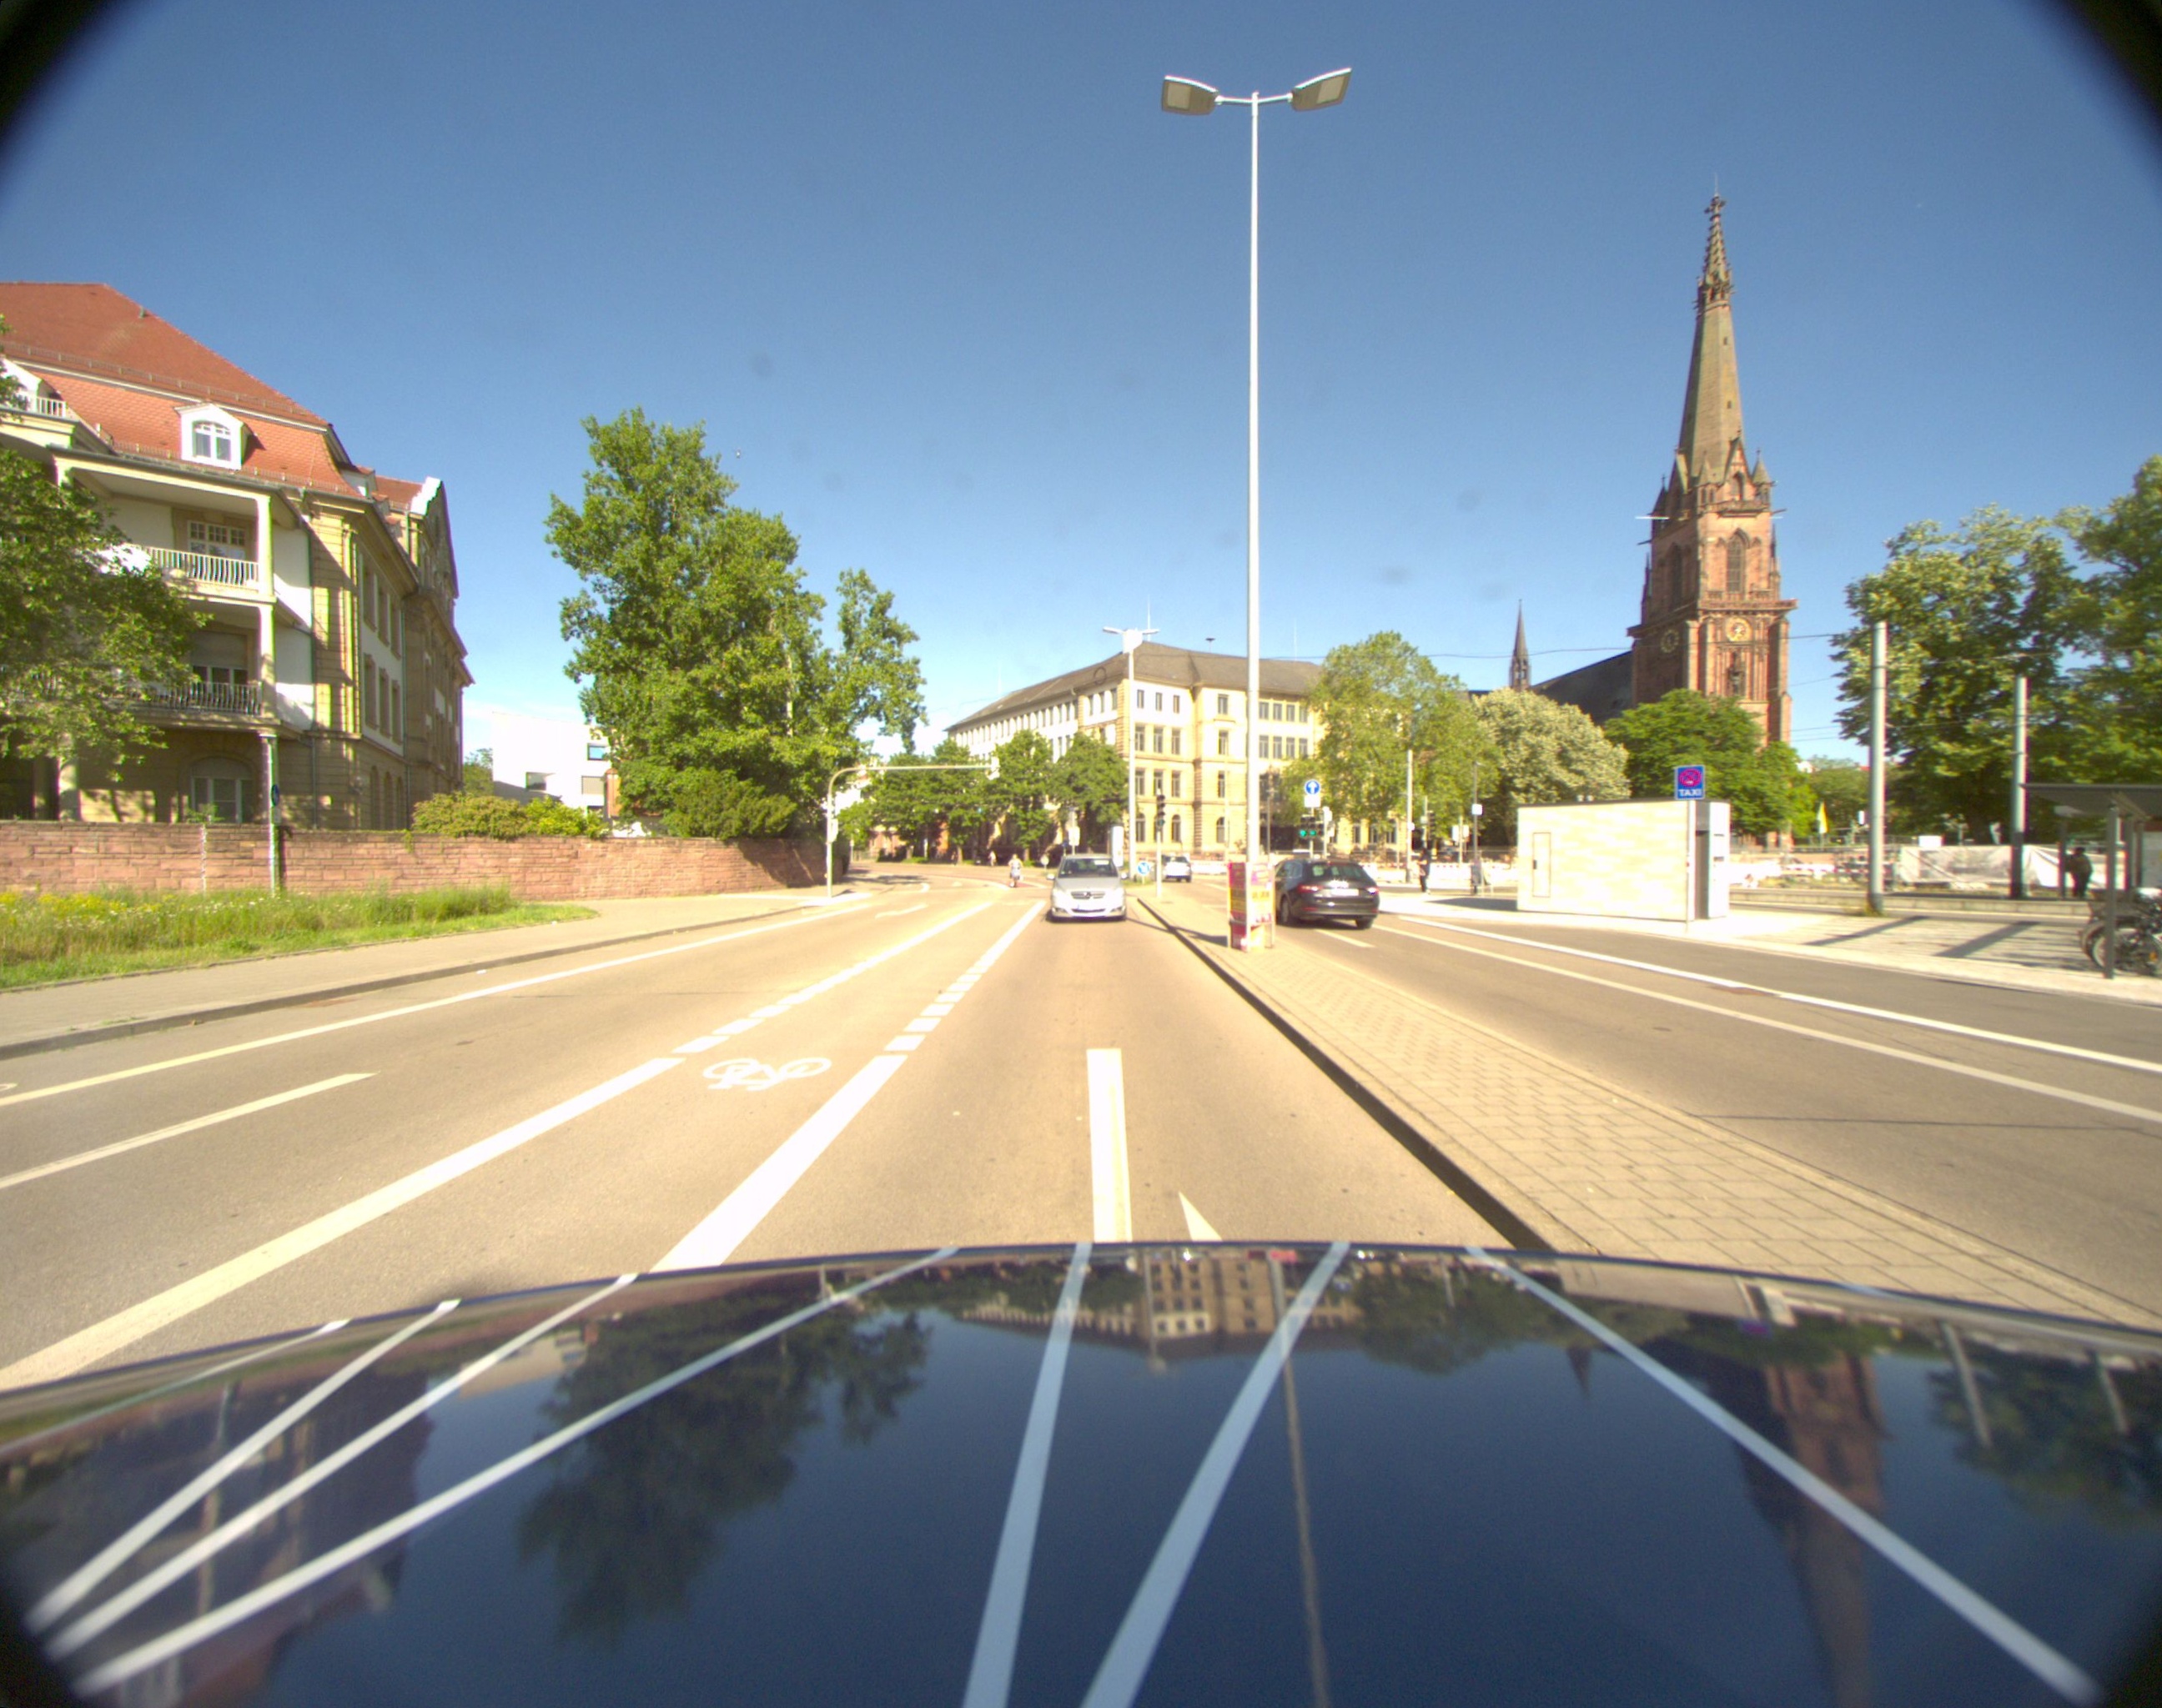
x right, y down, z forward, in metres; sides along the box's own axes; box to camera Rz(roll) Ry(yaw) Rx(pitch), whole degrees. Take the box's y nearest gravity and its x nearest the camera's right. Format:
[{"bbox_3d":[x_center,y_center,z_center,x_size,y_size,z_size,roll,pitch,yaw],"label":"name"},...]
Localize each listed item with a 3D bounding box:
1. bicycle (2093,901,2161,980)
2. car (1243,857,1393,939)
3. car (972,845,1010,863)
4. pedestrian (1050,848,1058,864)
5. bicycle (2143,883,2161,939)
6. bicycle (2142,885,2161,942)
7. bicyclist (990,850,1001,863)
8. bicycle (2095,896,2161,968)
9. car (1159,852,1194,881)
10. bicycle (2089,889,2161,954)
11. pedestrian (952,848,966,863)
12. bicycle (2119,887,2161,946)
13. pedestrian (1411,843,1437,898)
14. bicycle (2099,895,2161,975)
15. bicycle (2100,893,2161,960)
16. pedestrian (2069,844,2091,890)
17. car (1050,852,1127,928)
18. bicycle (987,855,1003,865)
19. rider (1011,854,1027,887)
[{"bbox_3d":[14.699,1.171,9.964,0.458,1.003,1.667,-1,1,-33],"label":"bicycle"},{"bbox_3d":[5.054,0.854,16.907,1.793,1.490,4.574,1,1,-1],"label":"car"},{"bbox_3d":[-10.726,-0.036,90.760,1.994,2.002,4.721,0,1,32],"label":"car"},{"bbox_3d":[-3.000,0.209,84.974,0.677,1.714,0.588,-1,1,-22],"label":"pedestrian"},{"bbox_3d":[20.488,1.063,13.609,0.458,1.003,1.667,-1,1,-33],"label":"bicycle"},{"bbox_3d":[19.894,1.075,13.199,0.458,1.003,1.667,-1,1,-33],"label":"bicycle"},{"bbox_3d":[-9.170,0.229,81.166,0.893,1.377,0.735,1,1,44],"label":"bicyclist"},{"bbox_3d":[16.073,1.155,10.975,0.458,1.003,1.667,-1,1,-33],"label":"bicycle"},{"bbox_3d":[5.489,0.656,43.862,1.859,1.533,4.242,1,1,6],"label":"car"},{"bbox_3d":[17.914,1.127,12.427,0.458,1.003,1.667,-1,1,-33],"label":"bicycle"},{"bbox_3d":[-14.713,0.153,91.856,0.934,1.812,1.394,1,1,45],"label":"pedestrian"},{"bbox_3d":[19.127,1.098,12.947,0.458,1.003,1.667,-1,1,-33],"label":"bicycle"},{"bbox_3d":[11.791,0.551,26.153,0.693,1.844,0.679,0,1,12],"label":"pedestrian"},{"bbox_3d":[15.200,1.132,10.279,0.458,1.055,1.667,-1,1,-33],"label":"bicycle"},{"bbox_3d":[17.260,1.147,11.654,0.458,1.003,1.899,-1,1,-33],"label":"bicycle"},{"bbox_3d":[37.571,0.499,28.576,0.404,1.711,0.419,1,1,38],"label":"pedestrian"},{"bbox_3d":[0.132,0.803,19.027,1.706,1.657,3.913,-1,1,-1],"label":"car"},{"bbox_3d":[-9.203,0.646,81.208,1.830,0.985,0.735,0,1,44],"label":"bicycle"},{"bbox_3d":[-3.117,0.814,38.164,0.658,1.610,0.989,-1,1,1],"label":"rider"}]
